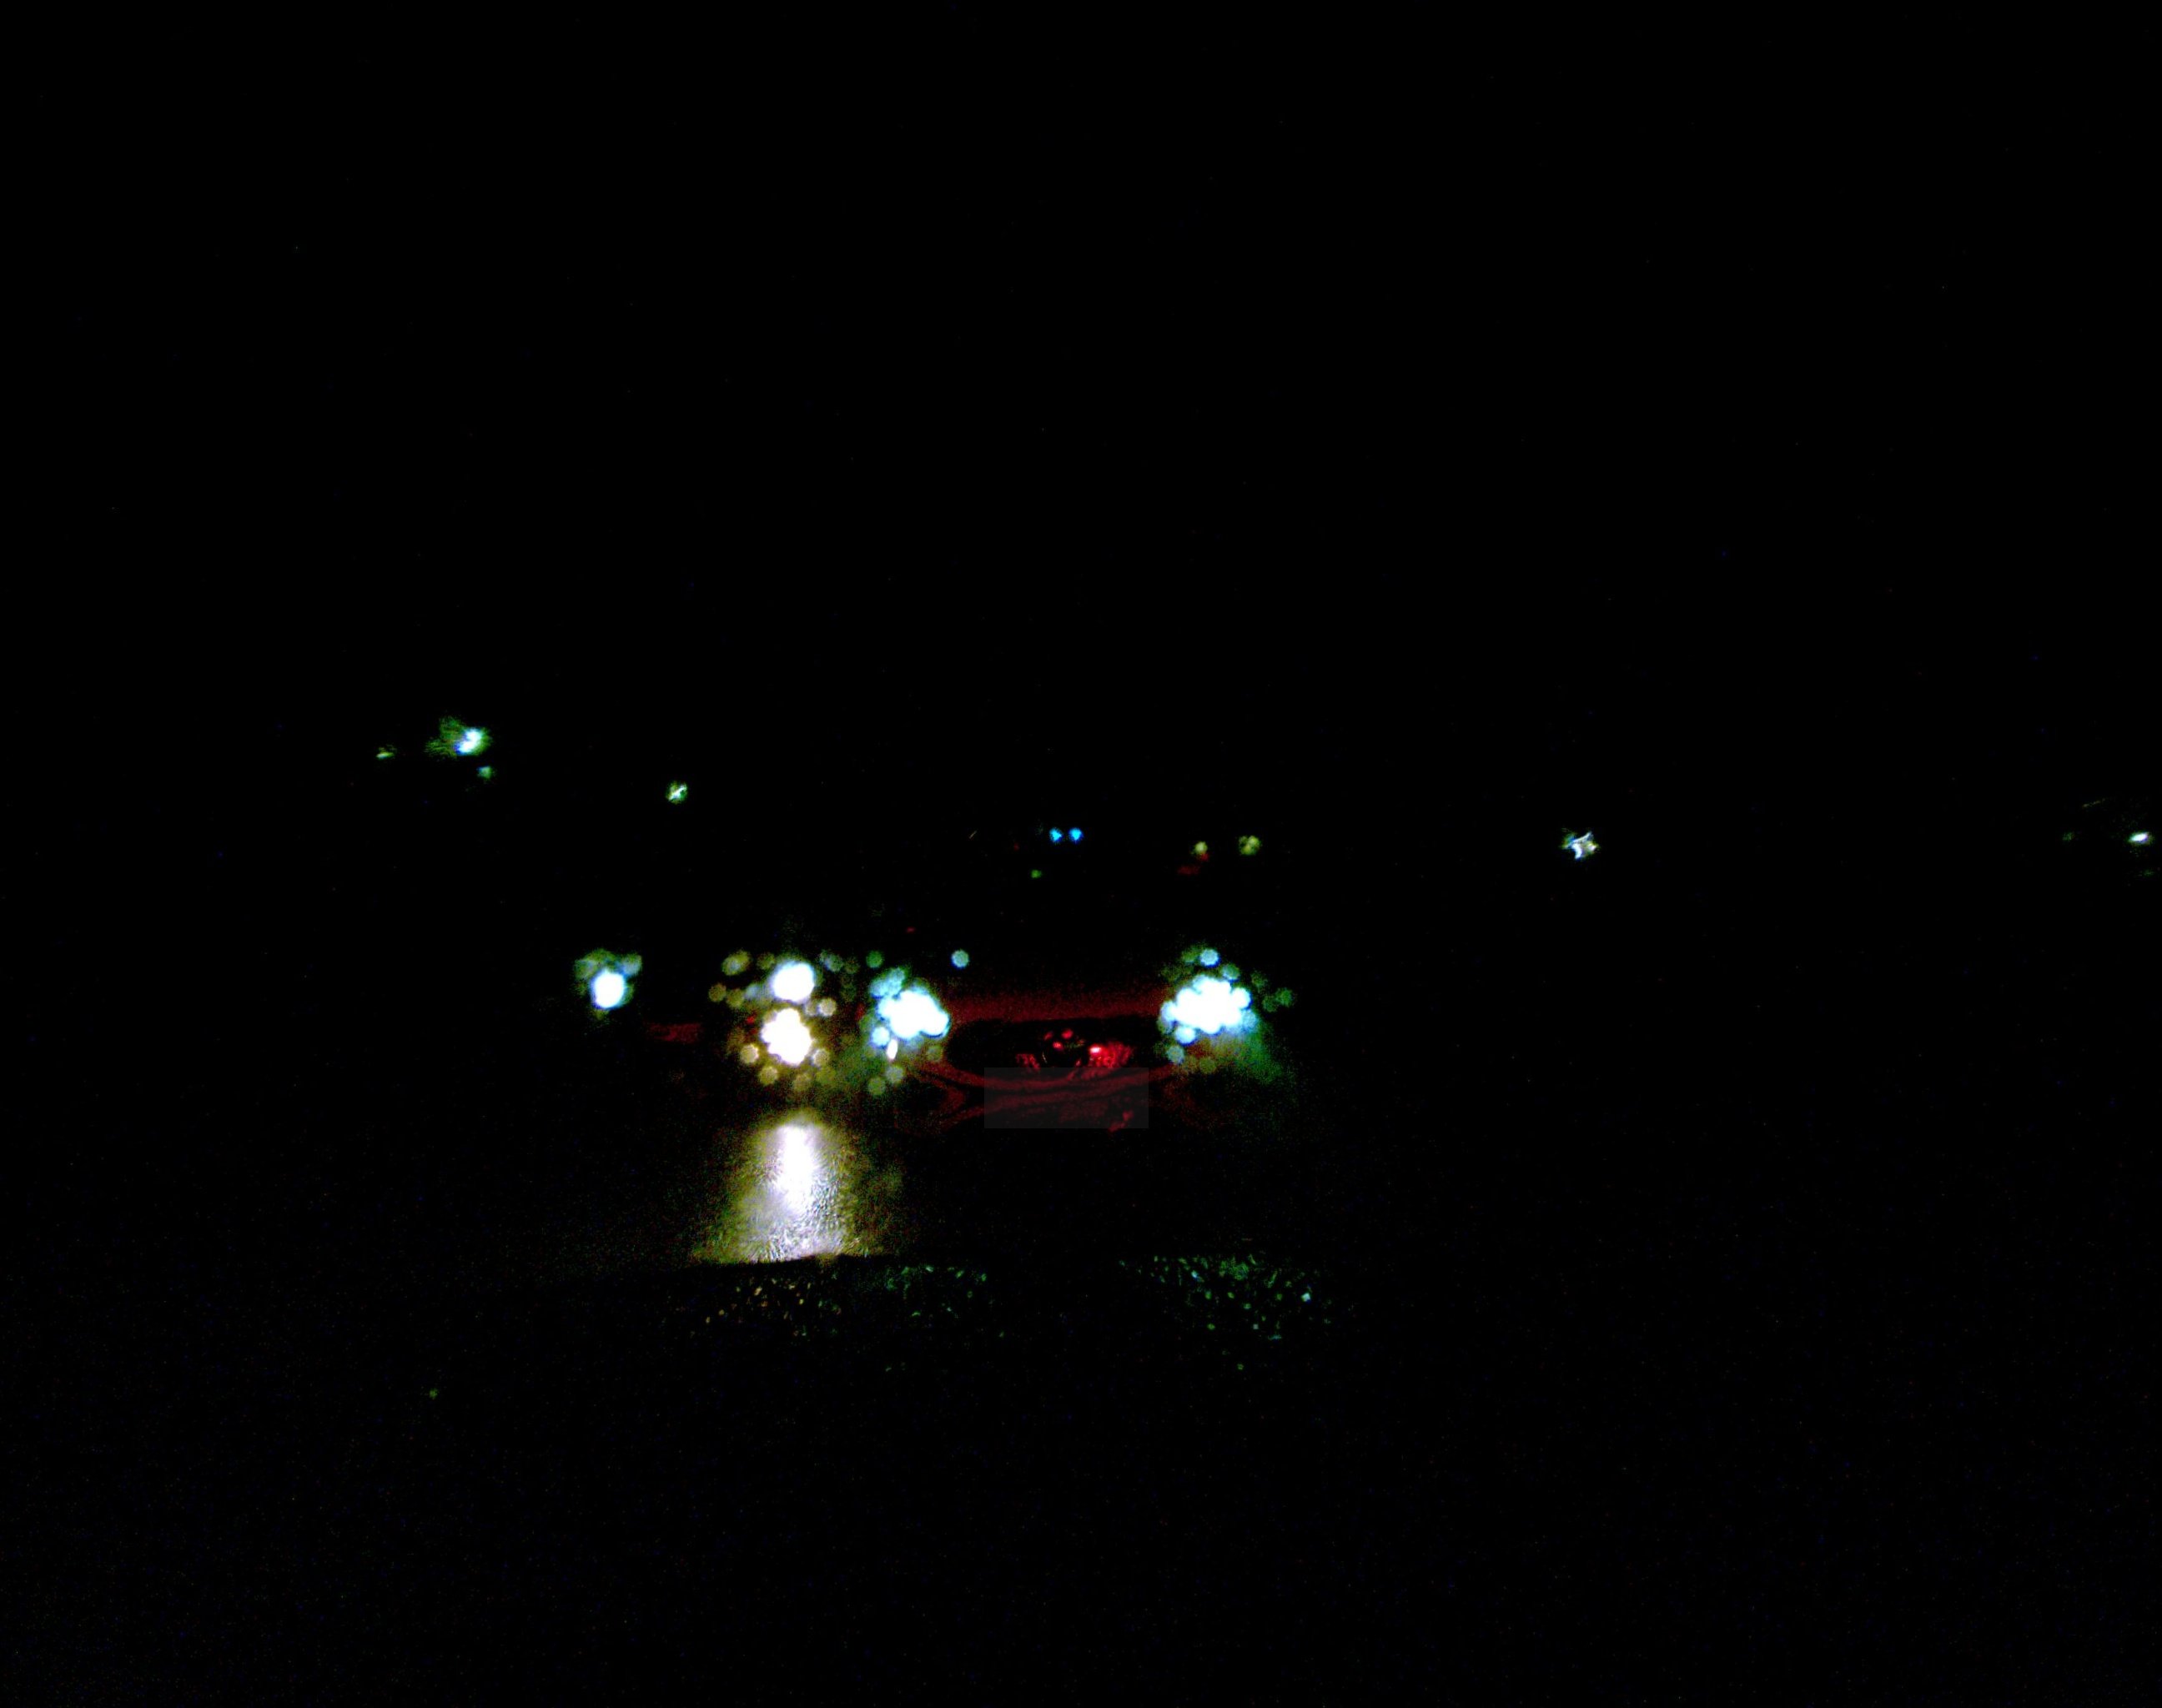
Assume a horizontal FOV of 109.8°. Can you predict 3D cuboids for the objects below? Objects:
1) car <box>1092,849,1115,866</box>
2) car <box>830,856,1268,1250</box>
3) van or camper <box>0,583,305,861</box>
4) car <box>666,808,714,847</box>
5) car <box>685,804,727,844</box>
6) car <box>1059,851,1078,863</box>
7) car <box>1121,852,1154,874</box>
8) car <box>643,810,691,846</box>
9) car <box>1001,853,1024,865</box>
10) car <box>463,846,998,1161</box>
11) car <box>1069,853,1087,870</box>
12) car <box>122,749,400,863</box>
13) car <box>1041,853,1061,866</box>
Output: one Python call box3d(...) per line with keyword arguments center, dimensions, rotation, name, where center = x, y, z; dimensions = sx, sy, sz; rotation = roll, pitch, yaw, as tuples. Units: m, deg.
box3d(center=(2.657, 0.397, 90.238), dimensions=(2.091, 2.002, 4.711), rotation=(-2, 1, -5), name="car")
box3d(center=(-0.105, 0.872, 5.455), dimensions=(1.826, 1.573, 4.354), rotation=(-2, 1, 1), name="car")
box3d(center=(-12.739, -1.345, 9.041), dimensions=(2.417, 2.777, 5.763), rotation=(-3, 1, -18), name="van or camper")
box3d(center=(-26.344, -1.751, 51.323), dimensions=(1.937, 2.406, 4.249), rotation=(-3, 1, -16), name="car")
box3d(center=(-27.806, -2.209, 56.524), dimensions=(1.937, 2.759, 4.249), rotation=(-3, 1, -16), name="car")
box3d(center=(-1.843, 0.370, 112.730), dimensions=(2.000, 1.687, 3.995), rotation=(-3, 1, -12), name="car")
box3d(center=(4.338, 0.725, 58.905), dimensions=(1.893, 1.559, 4.485), rotation=(-1, -1, -3), name="car")
box3d(center=(-25.032, -1.541, 46.051), dimensions=(1.735, 2.002, 3.696), rotation=(-3, 1, -16), name="car")
box3d(center=(-12.355, 0.927, 136.533), dimensions=(2.095, 2.002, 4.701), rotation=(-2, 1, -35), name="car")
box3d(center=(-2.319, 0.842, 6.798), dimensions=(1.838, 1.725, 4.944), rotation=(-2, 1, 9), name="car")
box3d(center=(-0.357, 0.953, 97.286), dimensions=(1.999, 2.002, 3.998), rotation=(-2, 1, -4), name="car")
box3d(center=(-16.409, -0.885, 15.576), dimensions=(2.001, 2.002, 3.994), rotation=(-3, 1, -16), name="car")
box3d(center=(-4.980, 0.913, 126.466), dimensions=(2.002, 2.002, 3.992), rotation=(-3, 1, -24), name="car")
